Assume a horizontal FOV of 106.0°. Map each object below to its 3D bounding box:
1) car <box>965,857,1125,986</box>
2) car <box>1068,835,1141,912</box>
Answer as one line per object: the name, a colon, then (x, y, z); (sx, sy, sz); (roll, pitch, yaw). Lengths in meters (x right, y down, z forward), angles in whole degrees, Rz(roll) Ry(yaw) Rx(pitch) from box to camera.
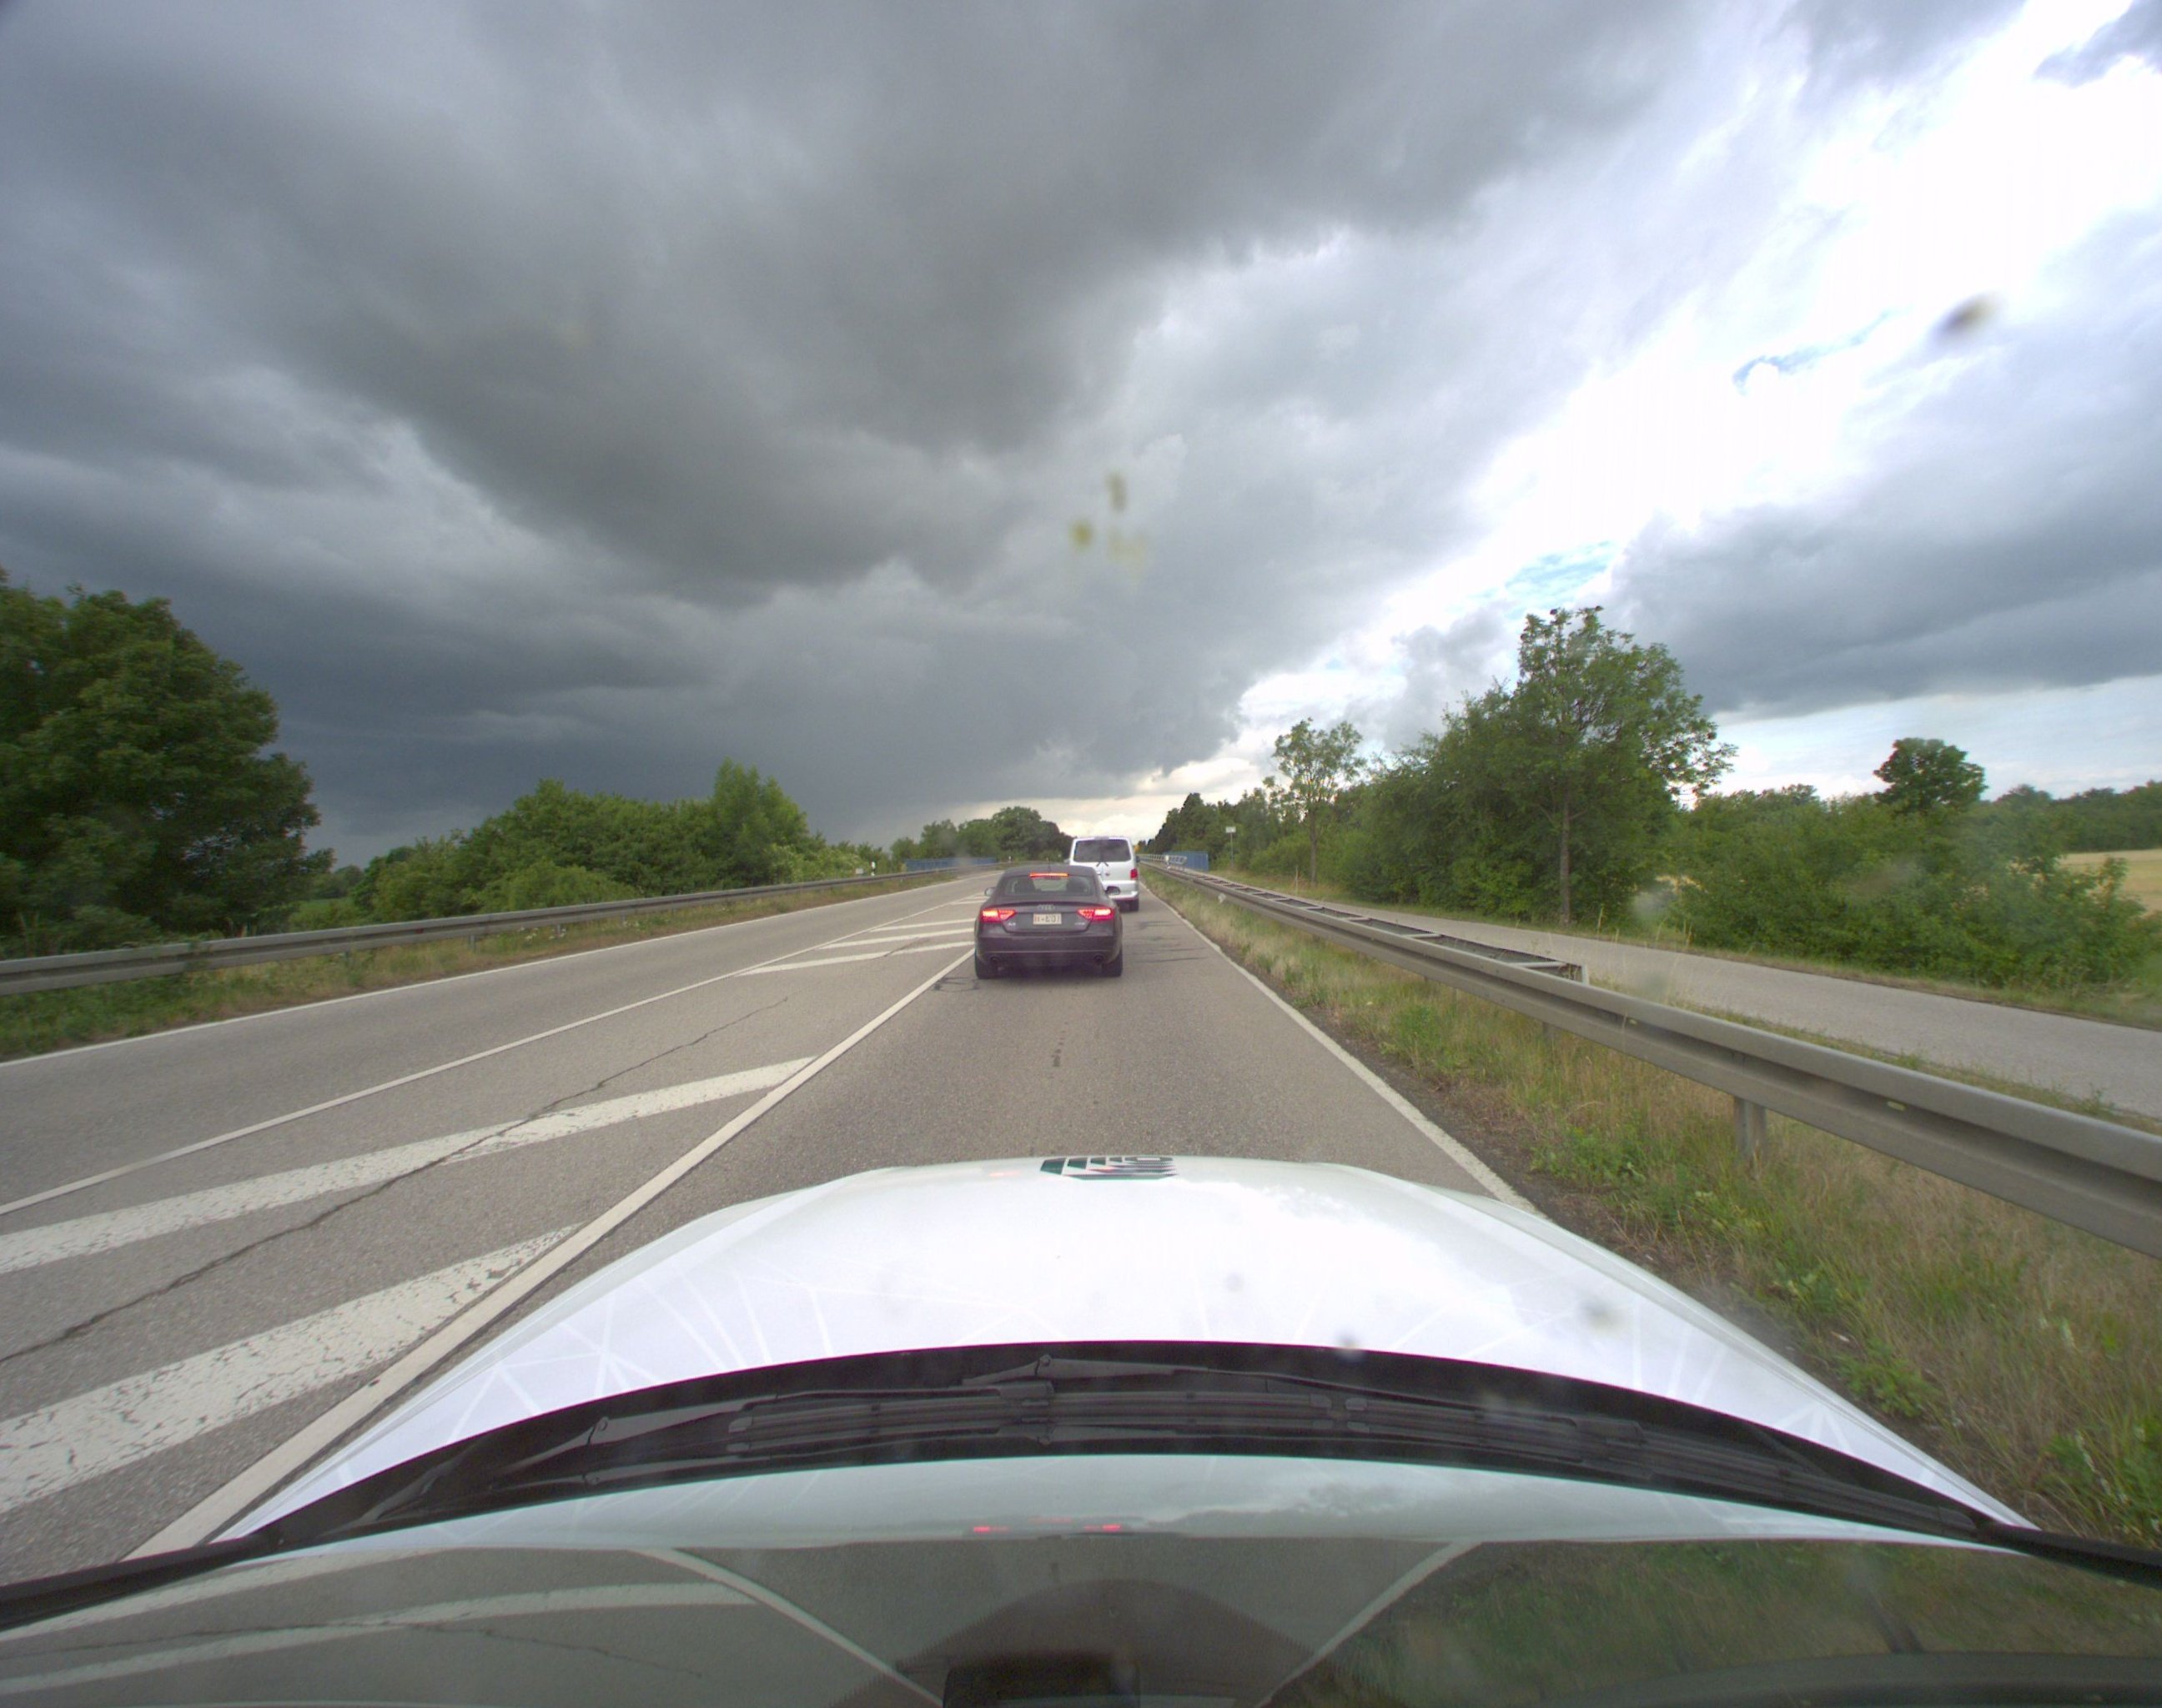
car: (-0.351, 0.774, 11.141); (1.779, 1.424, 4.001); (-1, -1, 1)
car: (0.639, 0.509, 22.253); (1.779, 1.890, 4.001); (-1, -1, 1)
